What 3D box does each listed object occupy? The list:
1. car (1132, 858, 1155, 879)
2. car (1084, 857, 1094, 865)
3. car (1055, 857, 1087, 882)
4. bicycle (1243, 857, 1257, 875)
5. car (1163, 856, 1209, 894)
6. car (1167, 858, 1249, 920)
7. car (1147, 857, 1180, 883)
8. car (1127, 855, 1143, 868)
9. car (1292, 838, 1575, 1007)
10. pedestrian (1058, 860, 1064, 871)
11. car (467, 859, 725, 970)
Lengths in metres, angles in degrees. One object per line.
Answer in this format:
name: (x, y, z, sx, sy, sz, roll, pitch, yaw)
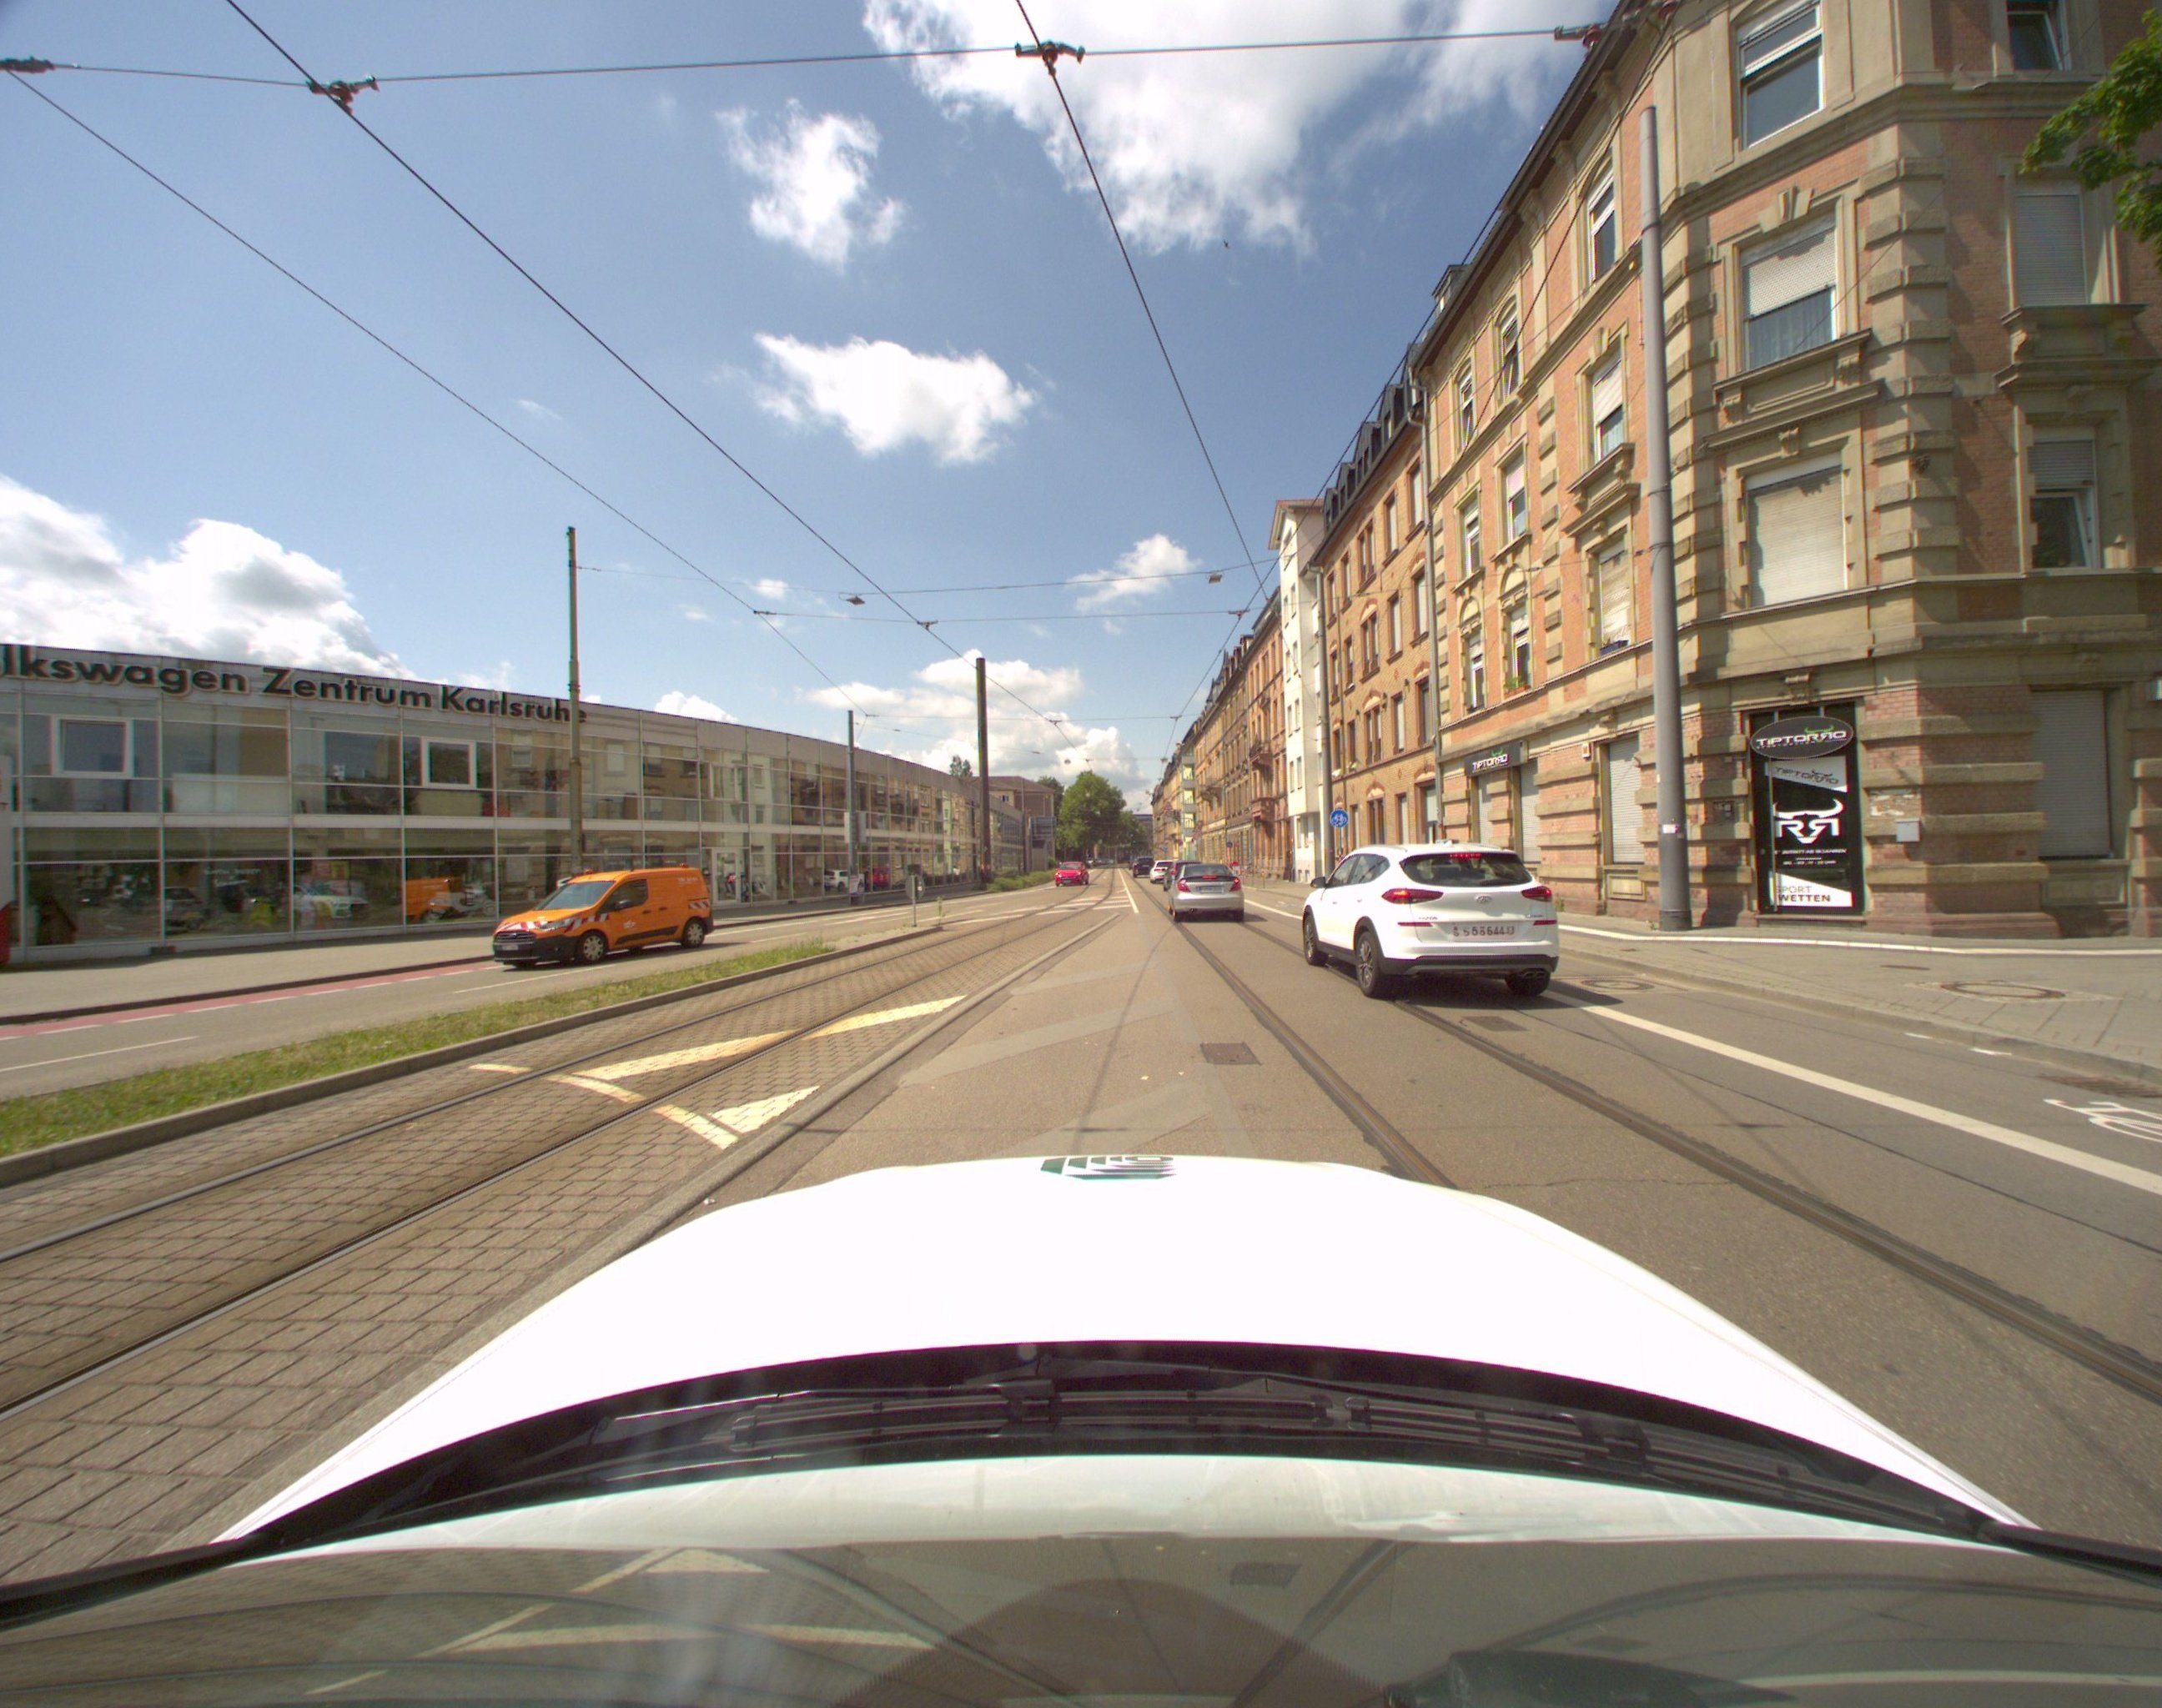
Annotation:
car: (5.276, 1.243, 68.948, 1.807, 1.662, 4.087, -2, -1, 2)
car: (1.787, 1.566, 175.722, 1.942, 1.632, 4.578, -1, 0, 2)
car: (-0.583, 0.961, 50.802, 1.694, 1.428, 3.905, -2, 0, 3)
bicycle: (11.678, 0.816, 56.336, 0.584, 1.178, 2.207, -2, 0, 3)
car: (4.665, 0.908, 36.520, 1.806, 1.524, 4.090, -2, 0, 4)
car: (3.184, 0.840, 21.105, 1.806, 1.420, 4.194, -2, -1, 5)
car: (5.128, 0.982, 51.227, 1.807, 1.524, 3.958, -2, 0, 2)
car: (7.753, 1.039, 117.521, 1.986, 1.860, 4.001, -2, 0, 1)
car: (3.953, 0.682, 9.995, 1.844, 1.634, 4.184, -1, 0, 3)
pedestrian: (-3.650, 2.016, 145.862, 0.876, 1.865, 1.081, -3, -1, 3)
car: (-9.654, 1.113, 16.704, 1.897, 1.866, 4.385, -3, 0, 15)
